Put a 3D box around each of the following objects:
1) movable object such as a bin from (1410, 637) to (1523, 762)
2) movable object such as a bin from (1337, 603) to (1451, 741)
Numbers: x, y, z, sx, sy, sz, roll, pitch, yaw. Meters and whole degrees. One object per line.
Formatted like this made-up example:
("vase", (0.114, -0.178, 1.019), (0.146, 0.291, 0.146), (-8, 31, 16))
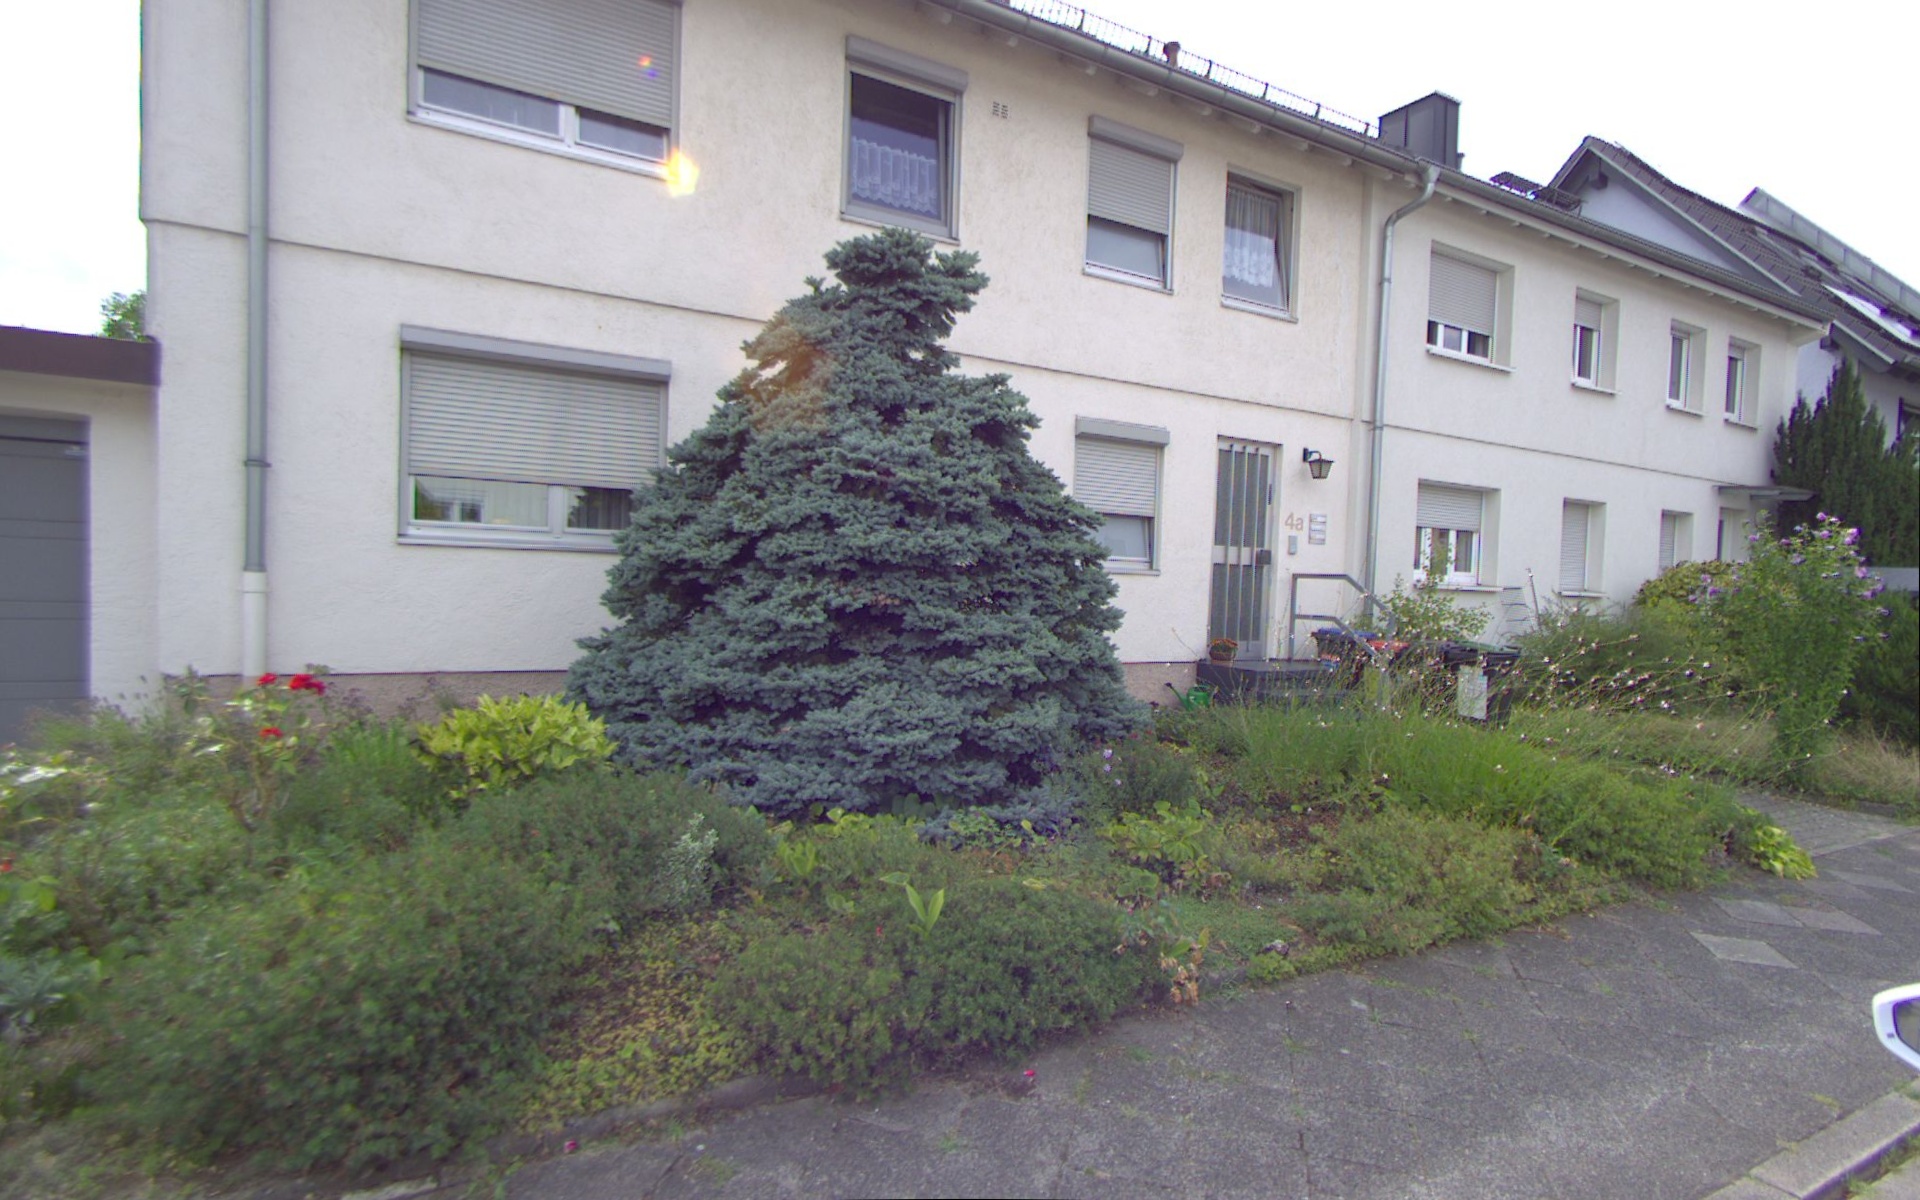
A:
("movable object such as a bin", (4.509, 0.861, 8.957), (0.591, 1.021, 0.672), (1, 1, -29))
("movable object such as a bin", (4.198, 0.667, 9.729), (0.725, 1.256, 0.693), (1, 1, -29))
